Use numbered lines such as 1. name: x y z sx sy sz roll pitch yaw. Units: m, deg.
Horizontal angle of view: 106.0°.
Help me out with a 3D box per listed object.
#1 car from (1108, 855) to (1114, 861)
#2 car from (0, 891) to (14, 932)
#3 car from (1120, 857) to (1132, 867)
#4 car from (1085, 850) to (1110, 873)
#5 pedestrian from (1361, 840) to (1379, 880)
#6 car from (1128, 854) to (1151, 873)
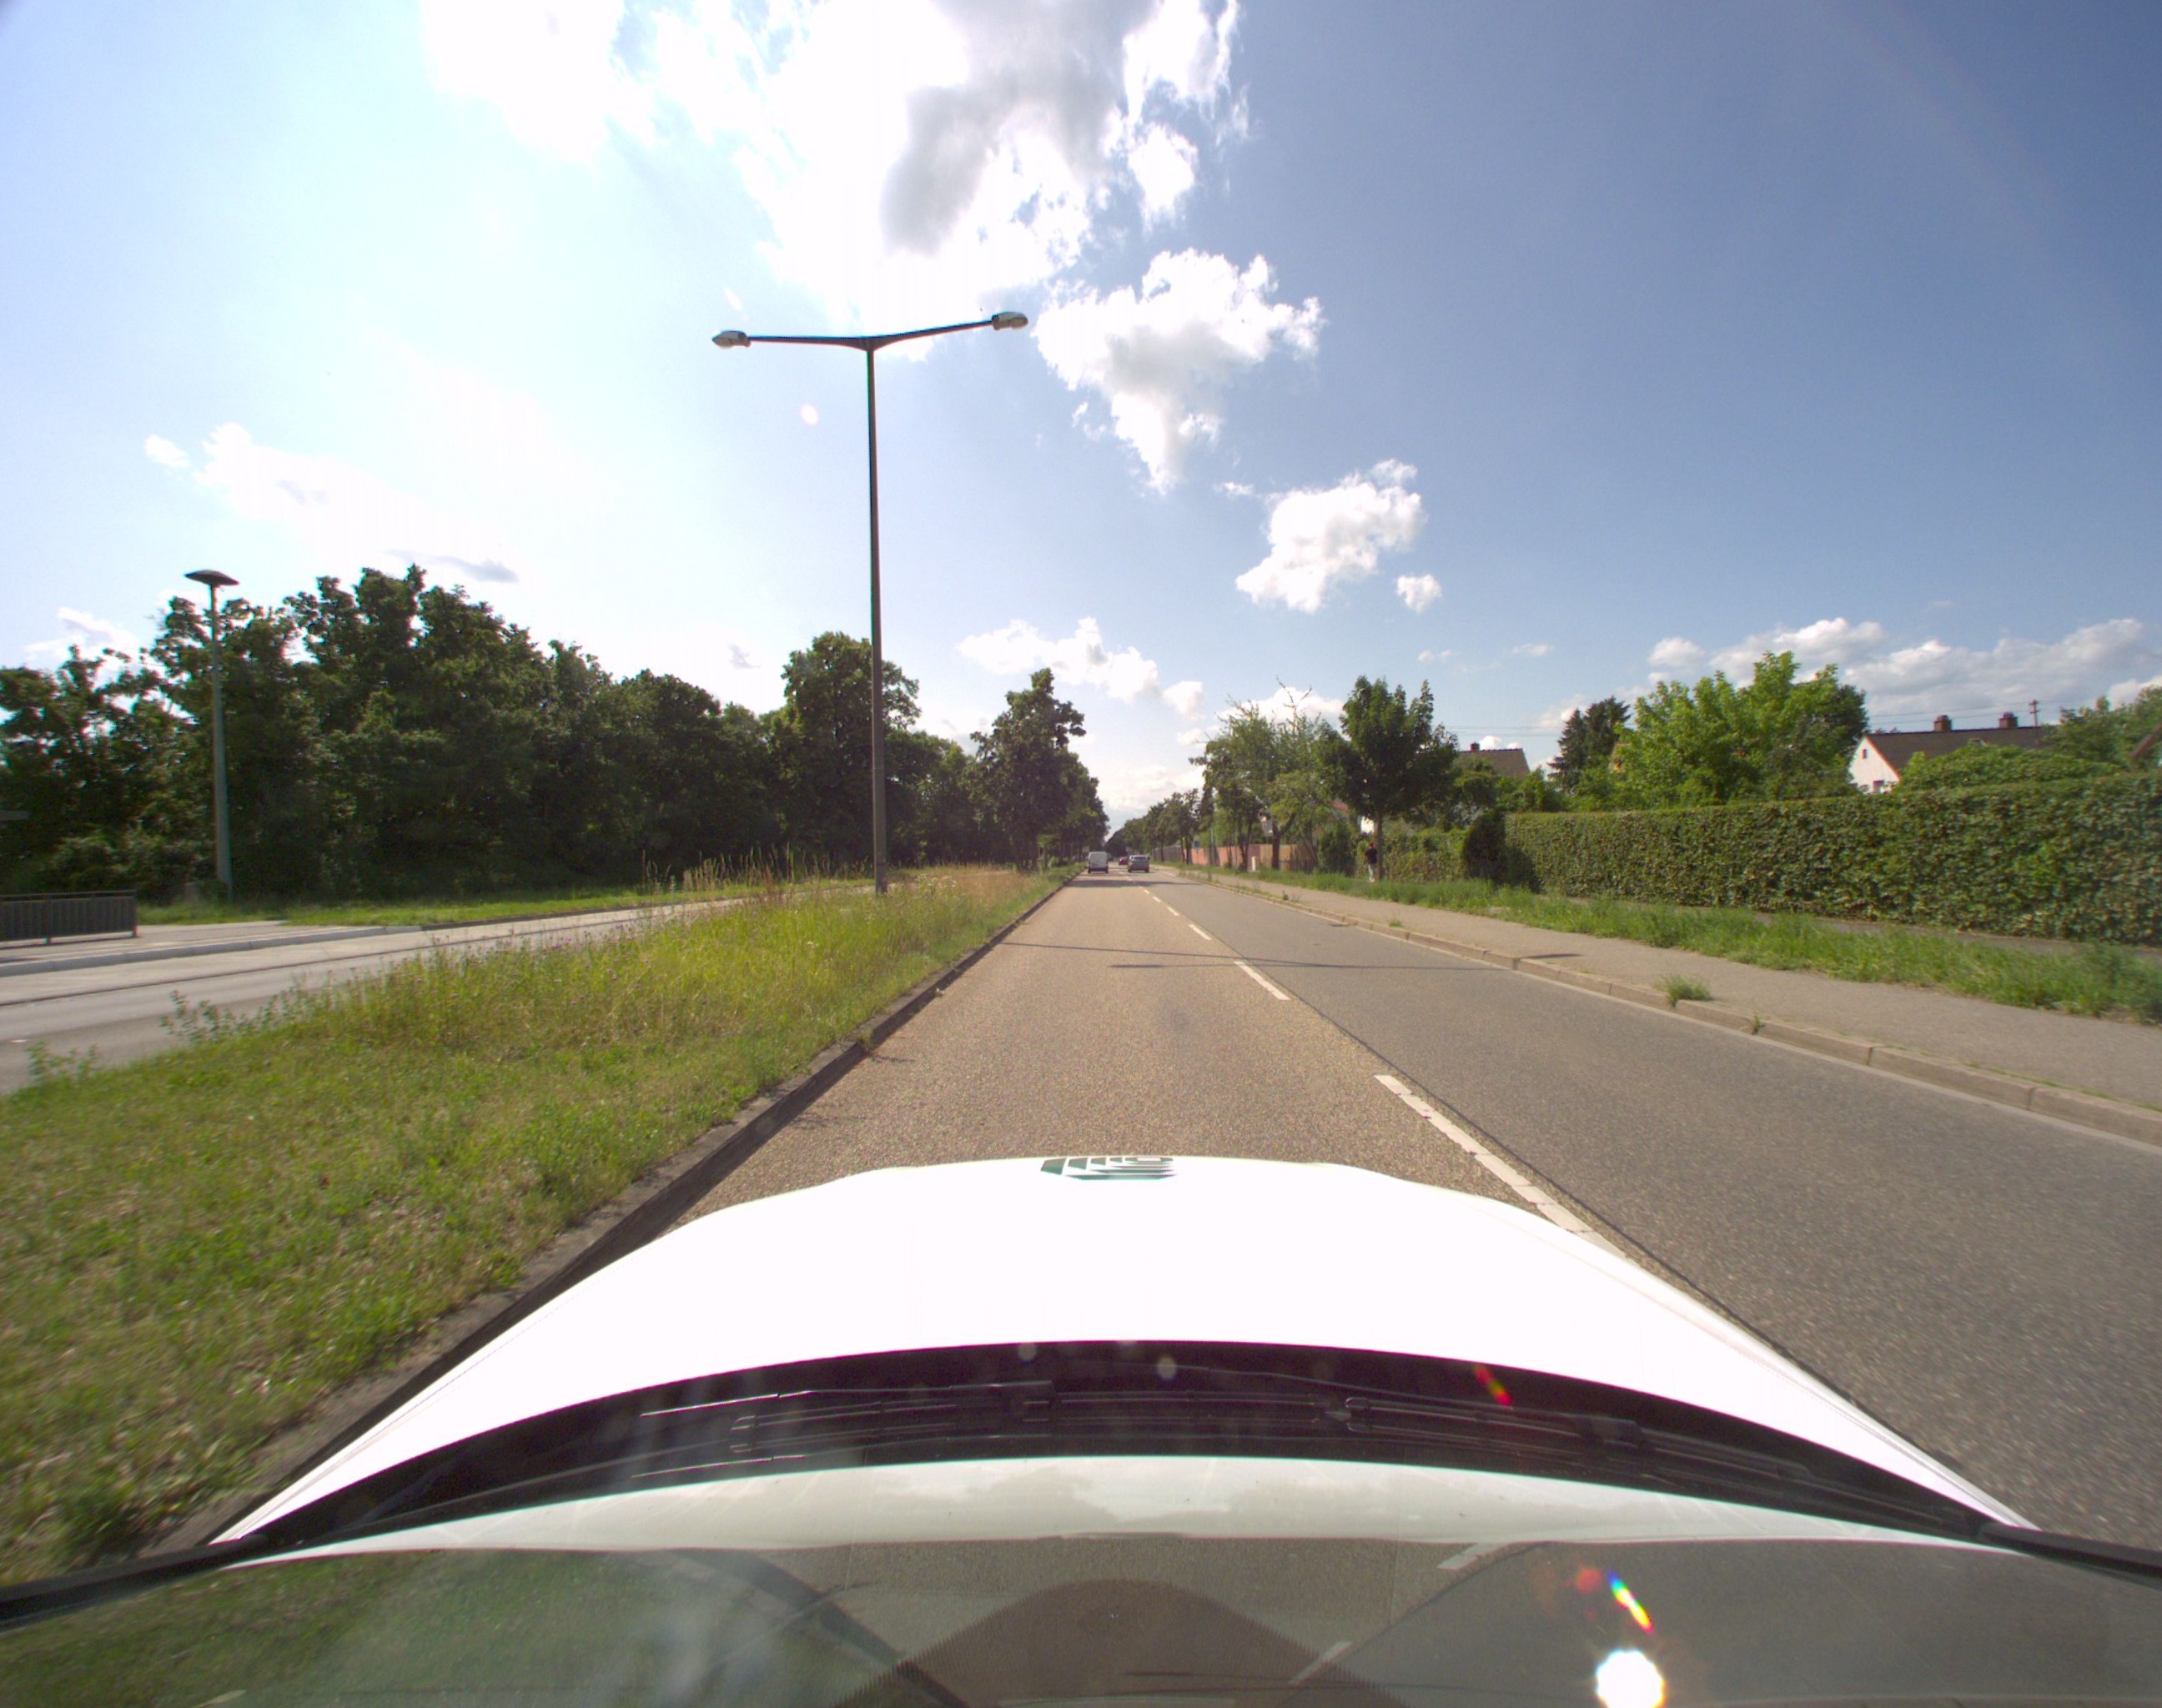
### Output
1. car: 9.620 1.180 260.912 1.986 1.772 4.148 0 0 1
2. car: -42.589 2.231 29.964 1.737 1.508 4.026 -1 0 37
3. car: 7.538 1.294 135.492 1.873 1.587 4.001 -1 0 1
4. car: 1.484 0.663 71.327 2.058 1.912 4.648 -1 0 1
5. pedestrian: 12.351 0.250 34.802 0.558 1.677 0.634 -1 0 1
6. car: 5.179 0.808 72.473 1.868 1.589 4.186 -1 0 2
